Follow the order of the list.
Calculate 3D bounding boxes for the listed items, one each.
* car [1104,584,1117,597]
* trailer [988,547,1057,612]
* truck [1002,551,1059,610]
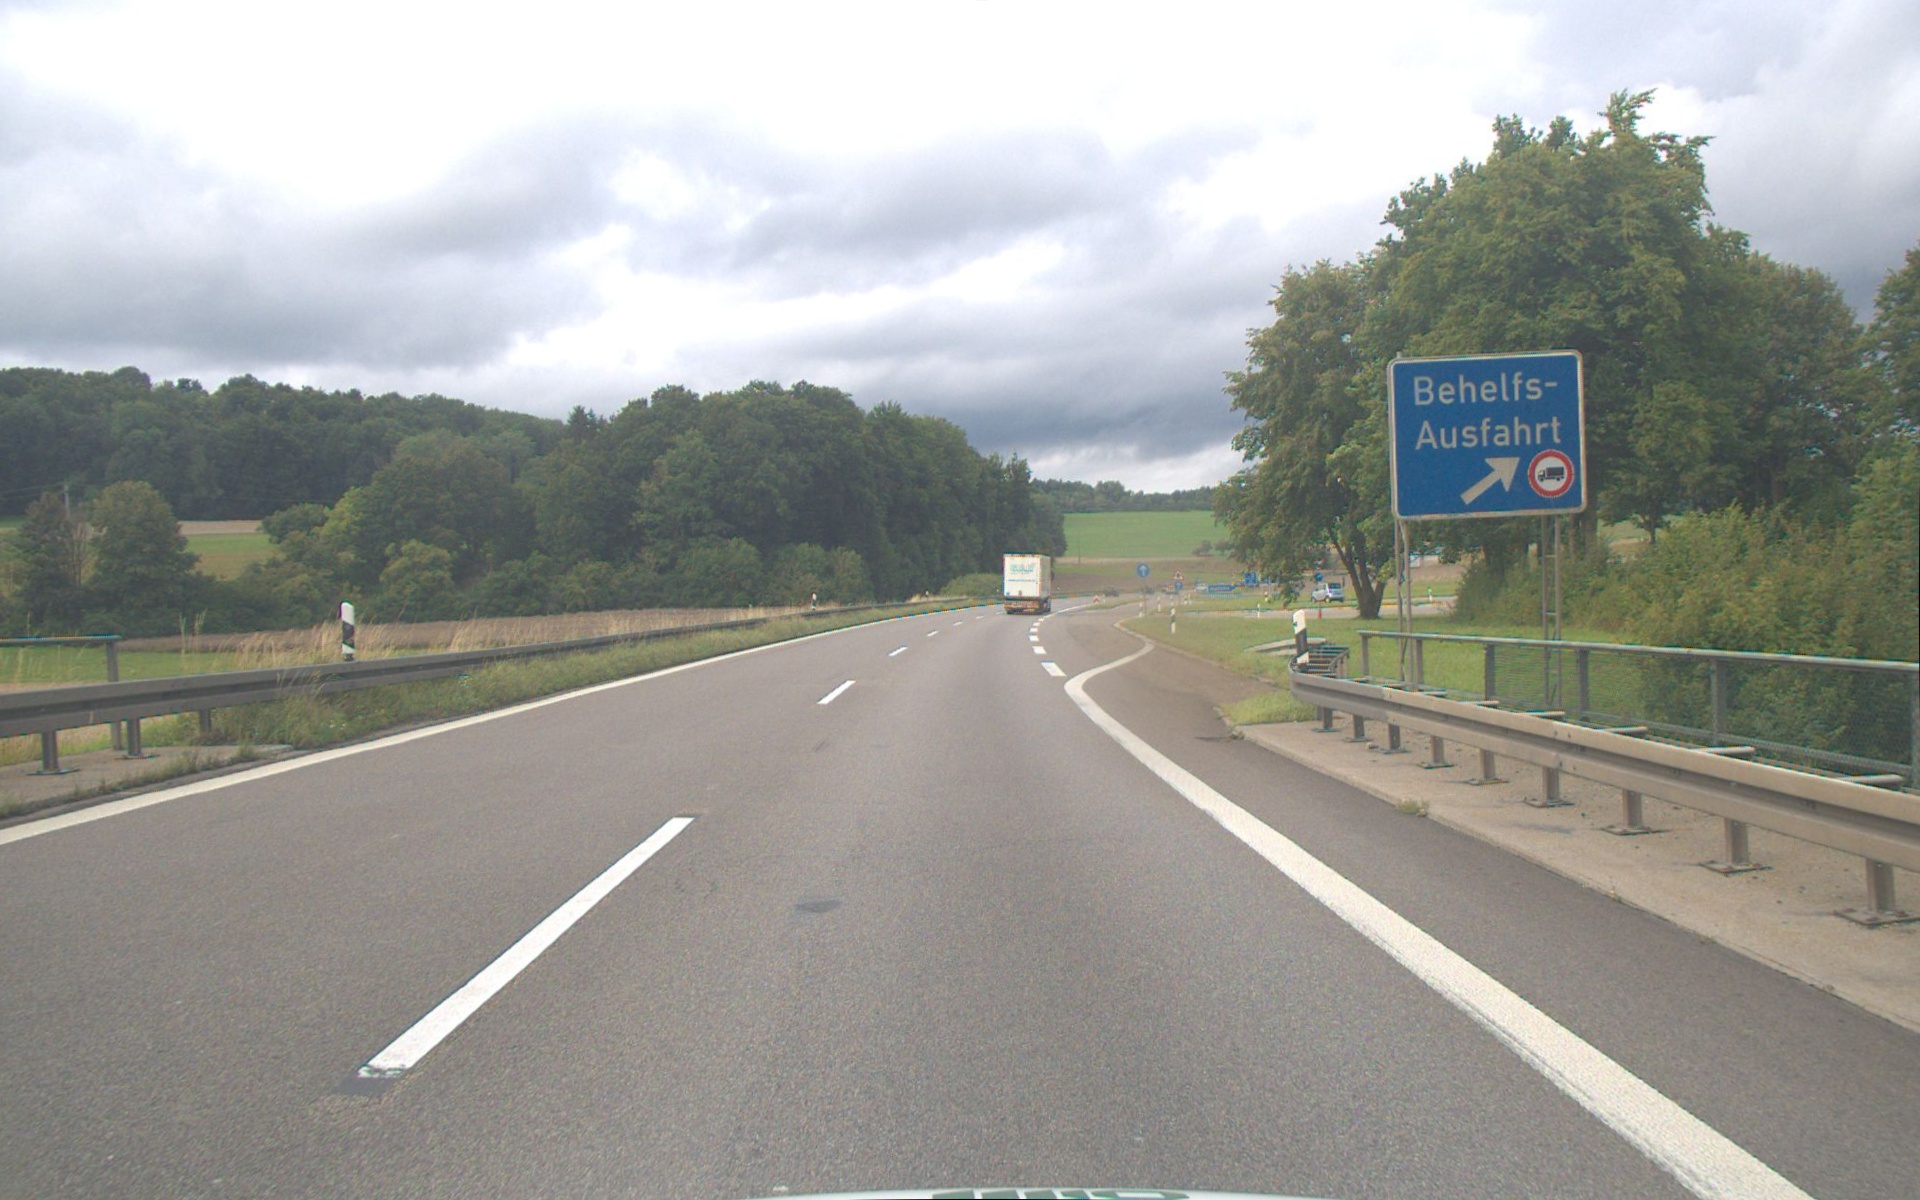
[{"bbox_3d":[22.294,-1.420,245.015,1.862,1.827,4.003,0,-1,7],"label":"car"},{"bbox_3d":[4.567,-1.408,116.224,3.725,4.247,14.819,1,1,6],"label":"trailer"},{"bbox_3d":[5.348,-1.458,123.251,3.707,4.204,8.271,1,1,6],"label":"truck"}]
